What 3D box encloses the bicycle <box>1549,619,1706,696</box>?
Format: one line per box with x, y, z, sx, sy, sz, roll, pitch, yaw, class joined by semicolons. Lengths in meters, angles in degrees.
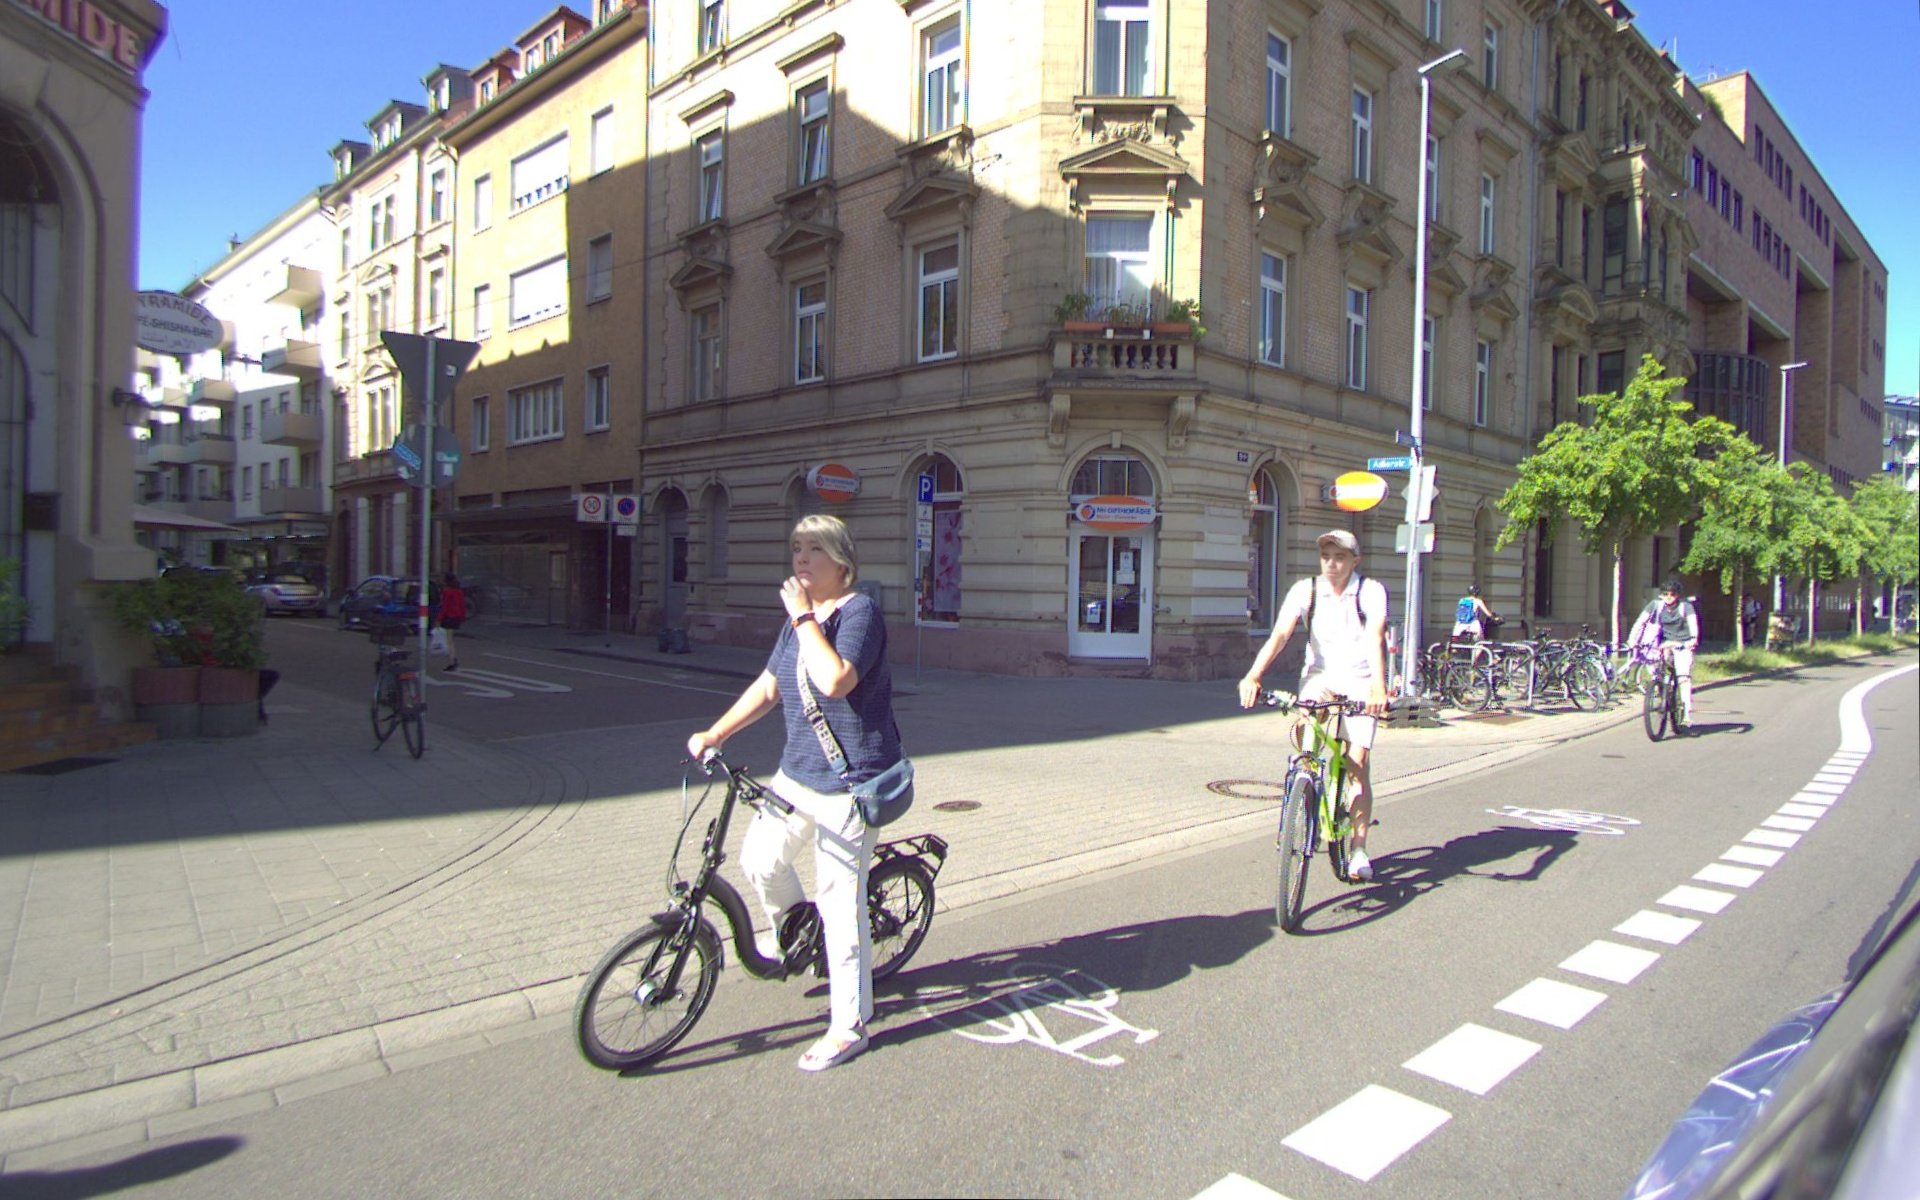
11.503;0.961;17.501;0.833;1.054;2.062;0;4;-41;bicycle

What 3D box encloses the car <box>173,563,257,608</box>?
-26.257;-0.527;35.625;3.425;1.424;1.605;3;0;41;car

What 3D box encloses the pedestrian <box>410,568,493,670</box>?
-8.248;0.295;16.439;0.824;1.594;0.901;0;0;22;pedestrian

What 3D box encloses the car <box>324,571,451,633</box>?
-14.665;0.014;25.862;3.686;1.428;1.594;2;1;39;car

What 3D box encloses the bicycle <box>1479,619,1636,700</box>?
9.451;0.904;16.051;1.013;1.043;1.901;0;4;-43;bicycle

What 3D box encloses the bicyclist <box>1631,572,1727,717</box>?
8.421;0.496;11.856;0.879;1.625;0.724;1;-1;-41;bicyclist

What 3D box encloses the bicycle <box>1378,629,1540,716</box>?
6.681;0.943;13.656;0.580;0.922;1.911;0;3;-32;bicycle

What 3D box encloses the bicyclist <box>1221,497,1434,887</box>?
1.815;0.394;4.961;0.697;1.678;0.963;0;-1;40;bicyclist

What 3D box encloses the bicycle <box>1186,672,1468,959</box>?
1.906;0.936;5.059;0.722;1.019;1.924;0;0;40;bicycle

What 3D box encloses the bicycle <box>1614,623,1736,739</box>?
8.362;0.891;11.803;1.918;1.209;0.724;0;-1;-41;bicycle

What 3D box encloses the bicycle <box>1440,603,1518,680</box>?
9.359;0.711;18.223;2.062;1.268;0.578;-1;2;-43;bicycle

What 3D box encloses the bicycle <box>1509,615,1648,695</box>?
10.265;0.877;16.831;1.115;1.074;1.677;0;5;-42;bicycle

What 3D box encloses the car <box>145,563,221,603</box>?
-30.014;-0.669;39.068;3.425;1.424;1.605;3;0;41;car

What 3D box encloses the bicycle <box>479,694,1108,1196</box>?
-0.455;0.909;3.360;1.918;1.019;0.829;0;0;-41;bicycle

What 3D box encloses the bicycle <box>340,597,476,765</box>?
-4.977;0.656;9.044;0.801;1.247;2.221;4;-1;-34;bicycle

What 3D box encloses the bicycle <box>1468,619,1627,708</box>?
8.559;0.896;14.805;0.598;1.061;1.873;0;4;-45;bicycle

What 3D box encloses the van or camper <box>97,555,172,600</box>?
-37.807;-1.062;46.309;4.527;1.867;1.857;3;0;41;van or camper

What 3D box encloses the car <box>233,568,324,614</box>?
-21.127;-0.298;31.326;3.376;1.338;1.604;1;1;42;car

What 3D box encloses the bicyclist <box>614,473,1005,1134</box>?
-0.494;0.536;3.328;0.971;1.749;0.853;1;-1;-41;bicyclist

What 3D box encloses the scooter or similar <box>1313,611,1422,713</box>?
5.241;0.765;13.055;0.479;1.213;1.197;1;1;-45;scooter or similar

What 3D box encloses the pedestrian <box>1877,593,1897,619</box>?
74.154;0.513;80.978;0.747;2.039;0.884;1;1;-19;pedestrian

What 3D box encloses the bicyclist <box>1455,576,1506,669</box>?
9.368;0.386;18.213;0.781;1.637;0.578;0;1;-43;bicyclist

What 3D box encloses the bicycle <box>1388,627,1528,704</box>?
6.985;0.896;14.260;0.488;0.937;1.716;0;1;-40;bicycle
